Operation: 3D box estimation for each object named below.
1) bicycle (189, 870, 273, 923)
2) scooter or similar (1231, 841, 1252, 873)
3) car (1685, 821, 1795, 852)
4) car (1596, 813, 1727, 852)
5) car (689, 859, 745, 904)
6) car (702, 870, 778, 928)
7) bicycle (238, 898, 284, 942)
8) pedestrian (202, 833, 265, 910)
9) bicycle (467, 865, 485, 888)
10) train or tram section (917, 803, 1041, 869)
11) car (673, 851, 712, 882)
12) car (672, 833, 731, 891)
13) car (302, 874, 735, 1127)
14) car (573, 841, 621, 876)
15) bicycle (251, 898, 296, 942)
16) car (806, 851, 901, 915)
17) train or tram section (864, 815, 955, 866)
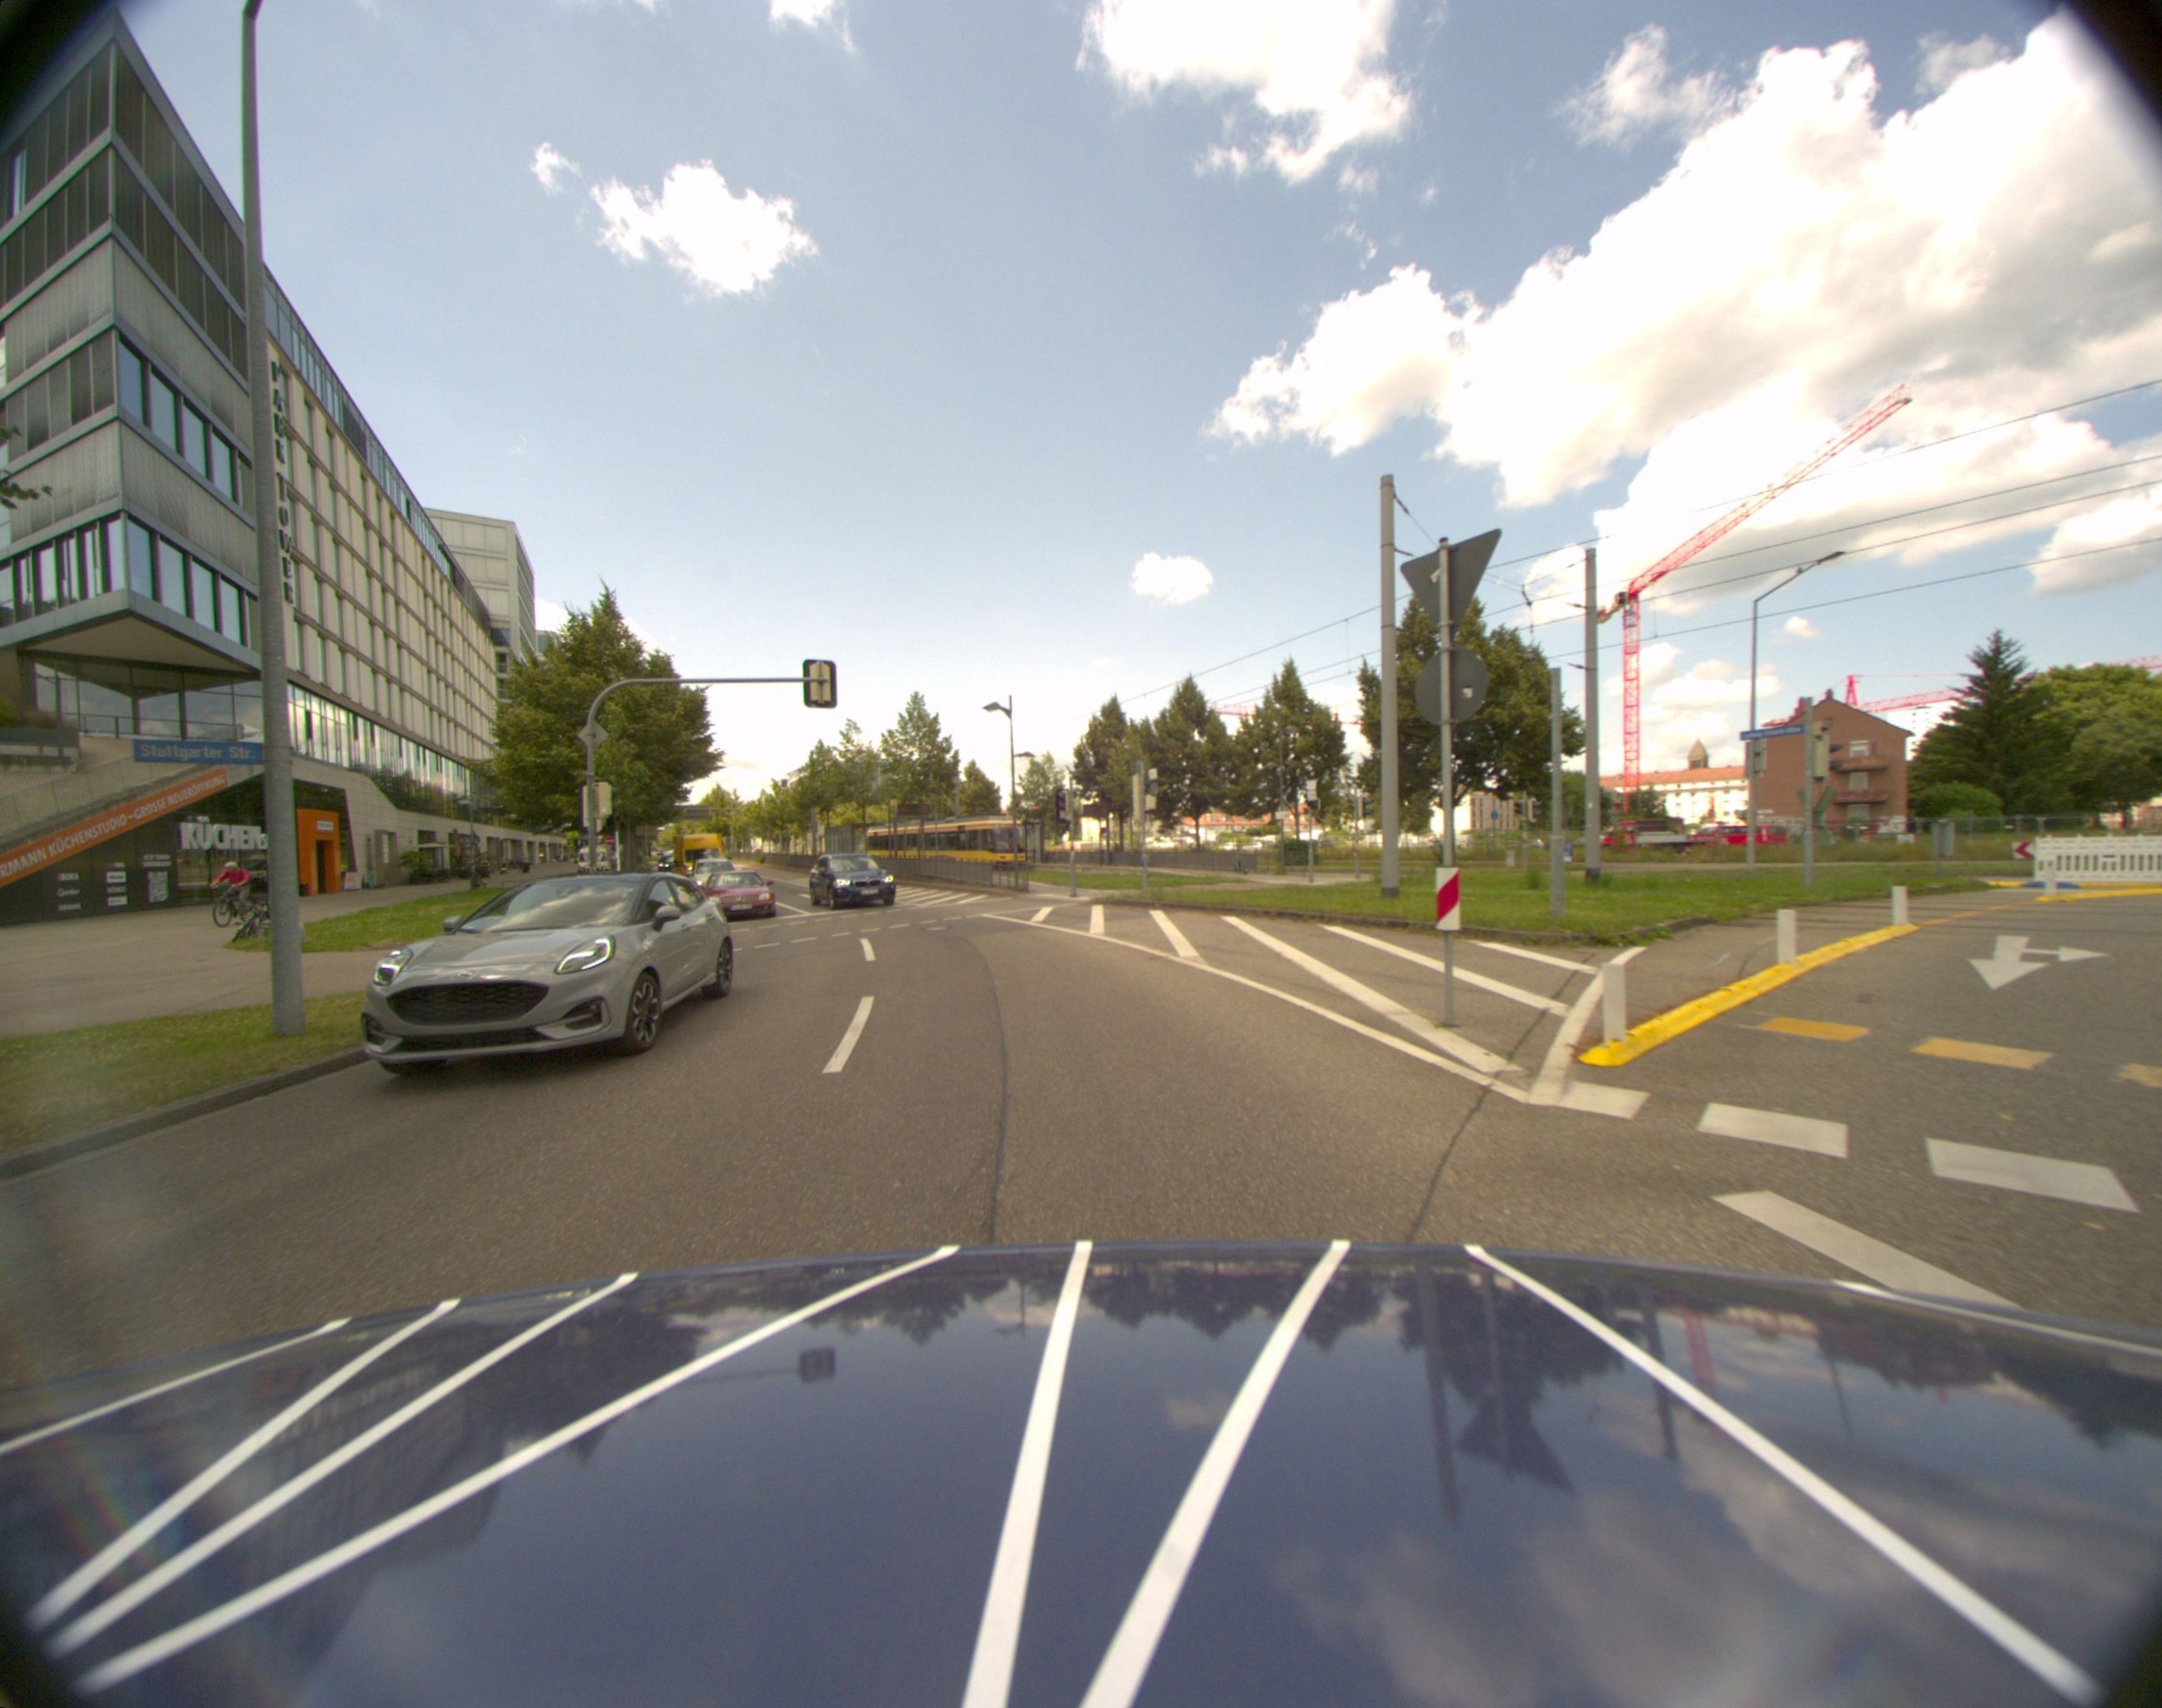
[{"bbox_3d":[-22.593,1.084,20.257,0.814,1.237,2.405,-1,1,-32],"label":"bicycle"},{"bbox_3d":[6.928,0.137,32.918,0.419,1.295,1.344,-2,4,-10],"label":"scooter or similar"},{"bbox_3d":[42.604,-1.112,49.301,2.088,1.842,5.179,-2,1,-11],"label":"car"},{"bbox_3d":[35.864,-1.315,47.288,2.394,2.185,6.833,-2,1,-6],"label":"car"},{"bbox_3d":[-14.858,1.046,30.909,1.677,1.590,4.118,-4,2,-30],"label":"car"},{"bbox_3d":[-9.375,1.161,20.984,1.677,1.254,4.084,-2,1,-23],"label":"car"},{"bbox_3d":[-17.653,1.409,16.381,0.359,0.821,1.470,-3,1,-36],"label":"bicycle"},{"bbox_3d":[-22.677,0.452,20.367,0.756,2.002,1.229,-2,1,-32],"label":"pedestrian"},{"bbox_3d":[-30.035,1.117,37.755,0.517,1.082,1.744,-2,1,-34],"label":"bicycle"},{"bbox_3d":[-7.044,-1.041,49.292,2.856,3.718,13.443,-2,1,-30],"label":"train or tram section"},{"bbox_3d":[-24.879,0.742,48.617,2.002,1.752,4.285,-5,3,-29],"label":"car"},{"bbox_3d":[-20.663,0.371,41.205,2.289,2.837,7.237,-3,2,-30],"label":"car"},{"bbox_3d":[-4.660,1.014,7.139,1.675,1.462,4.087,-2,1,-12],"label":"car"},{"bbox_3d":[-37.130,0.287,58.455,2.165,2.381,6.263,-4,3,-26],"label":"car"},{"bbox_3d":[-17.223,1.391,16.222,0.359,0.821,1.470,-3,1,-36],"label":"bicycle"},{"bbox_3d":[-6.998,0.789,23.122,1.778,1.590,4.117,-5,3,-30],"label":"car"},{"bbox_3d":[-14.201,-0.994,61.469,2.699,3.618,14.628,-2,1,-30],"label":"train or tram section"}]
